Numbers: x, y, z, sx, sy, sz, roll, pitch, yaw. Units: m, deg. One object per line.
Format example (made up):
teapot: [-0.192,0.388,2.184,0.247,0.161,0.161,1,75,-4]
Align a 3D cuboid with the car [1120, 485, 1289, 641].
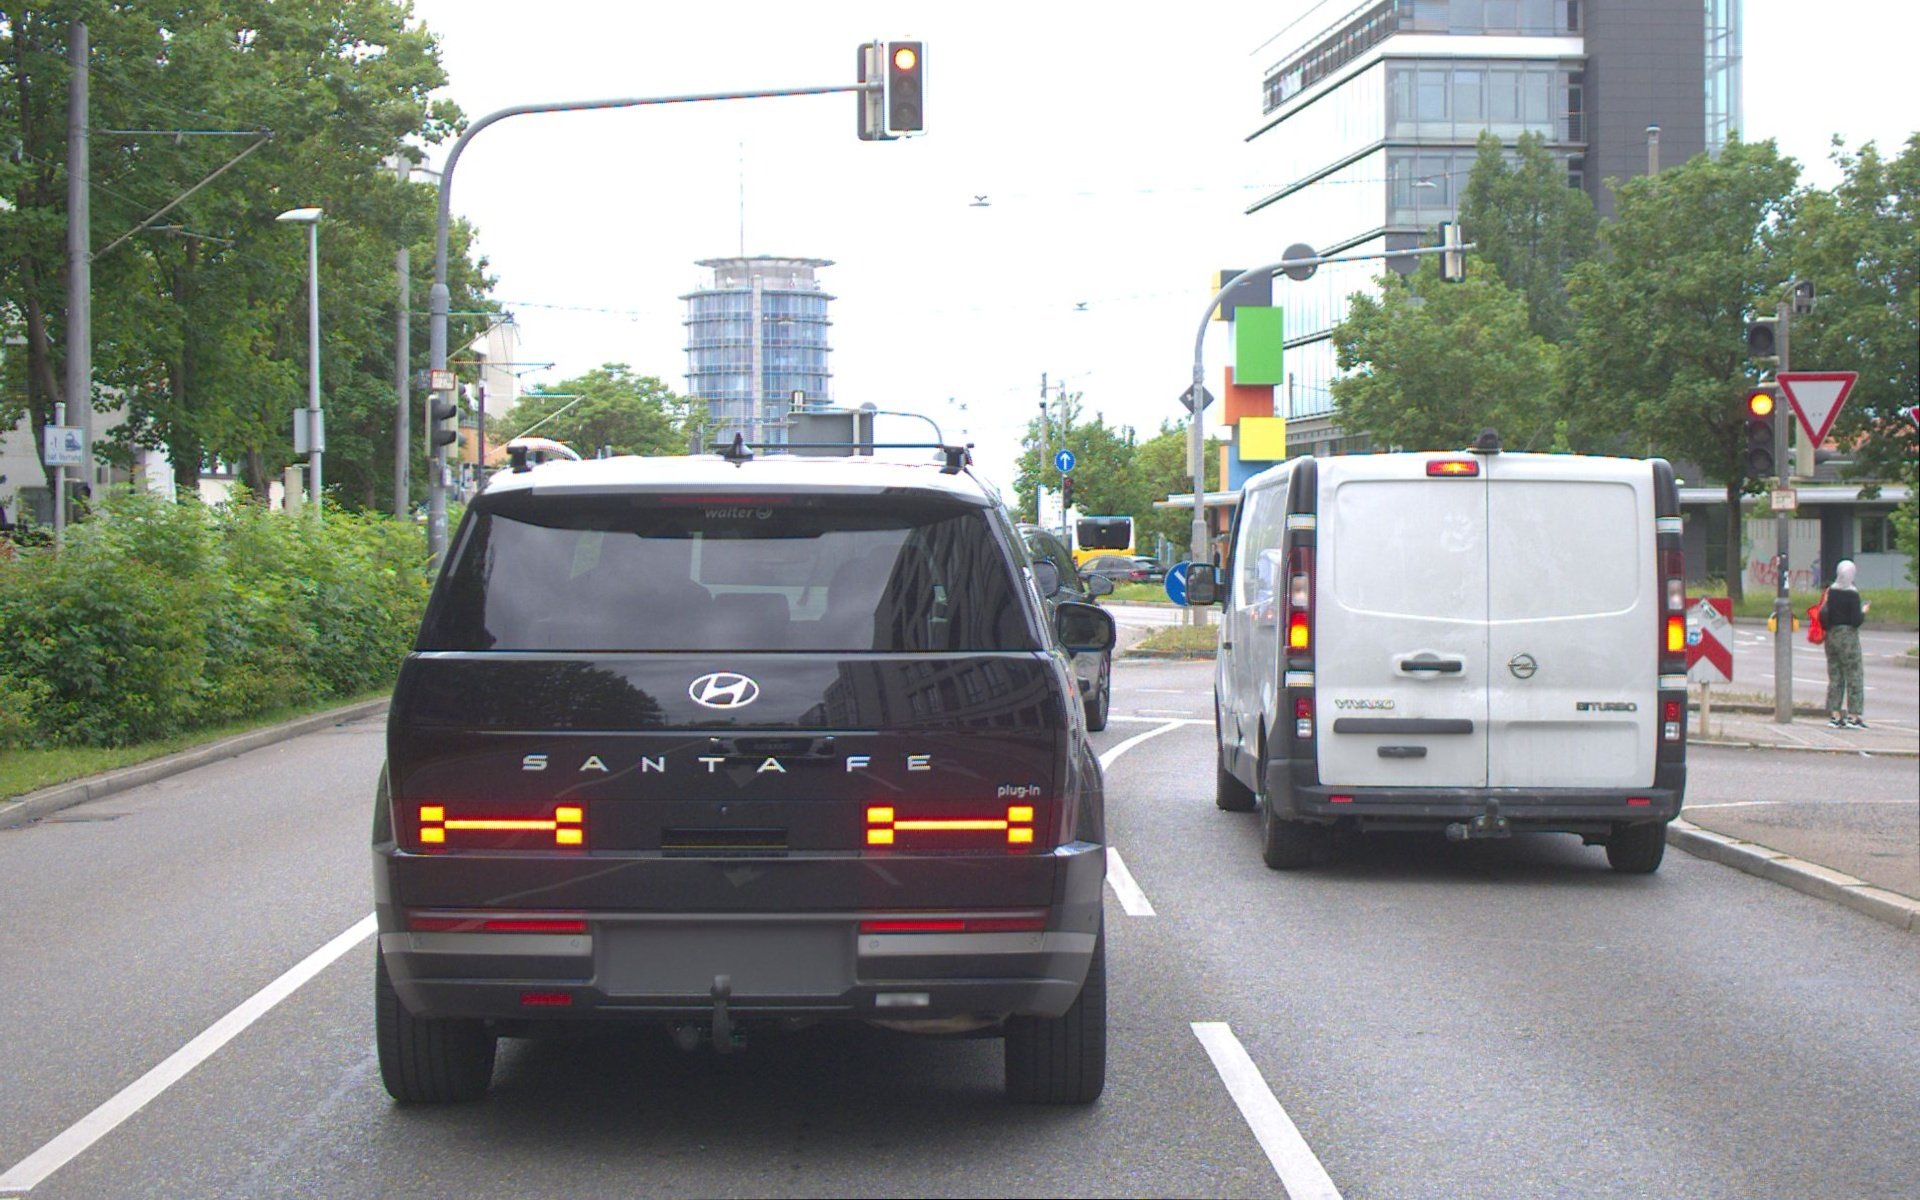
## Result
car: [3.262,-0.498,46.505,1.993,2.007,4.000,1,0,0]

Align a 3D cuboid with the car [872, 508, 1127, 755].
car: [0.305,0.203,26.304,1.776,1.711,4.338,1,0,1]

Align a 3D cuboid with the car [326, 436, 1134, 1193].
car: [-0.562,0.462,9.919,1.869,1.754,3.880,0,1,-1]

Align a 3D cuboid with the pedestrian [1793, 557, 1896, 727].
pedestrian: [8.441,0.395,32.806,0.738,1.579,0.573,1,2,-41]

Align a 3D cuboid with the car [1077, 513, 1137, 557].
car: [5.872,-2.600,137.882,1.993,1.678,4.001,1,0,-3]

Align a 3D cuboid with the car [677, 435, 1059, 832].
car: [-0.495,0.133,19.227,1.915,1.996,3.880,0,1,-1]

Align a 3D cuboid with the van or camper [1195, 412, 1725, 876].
van or camper: [2.342,0.149,17.349,1.993,2.007,4.653,1,1,0]
